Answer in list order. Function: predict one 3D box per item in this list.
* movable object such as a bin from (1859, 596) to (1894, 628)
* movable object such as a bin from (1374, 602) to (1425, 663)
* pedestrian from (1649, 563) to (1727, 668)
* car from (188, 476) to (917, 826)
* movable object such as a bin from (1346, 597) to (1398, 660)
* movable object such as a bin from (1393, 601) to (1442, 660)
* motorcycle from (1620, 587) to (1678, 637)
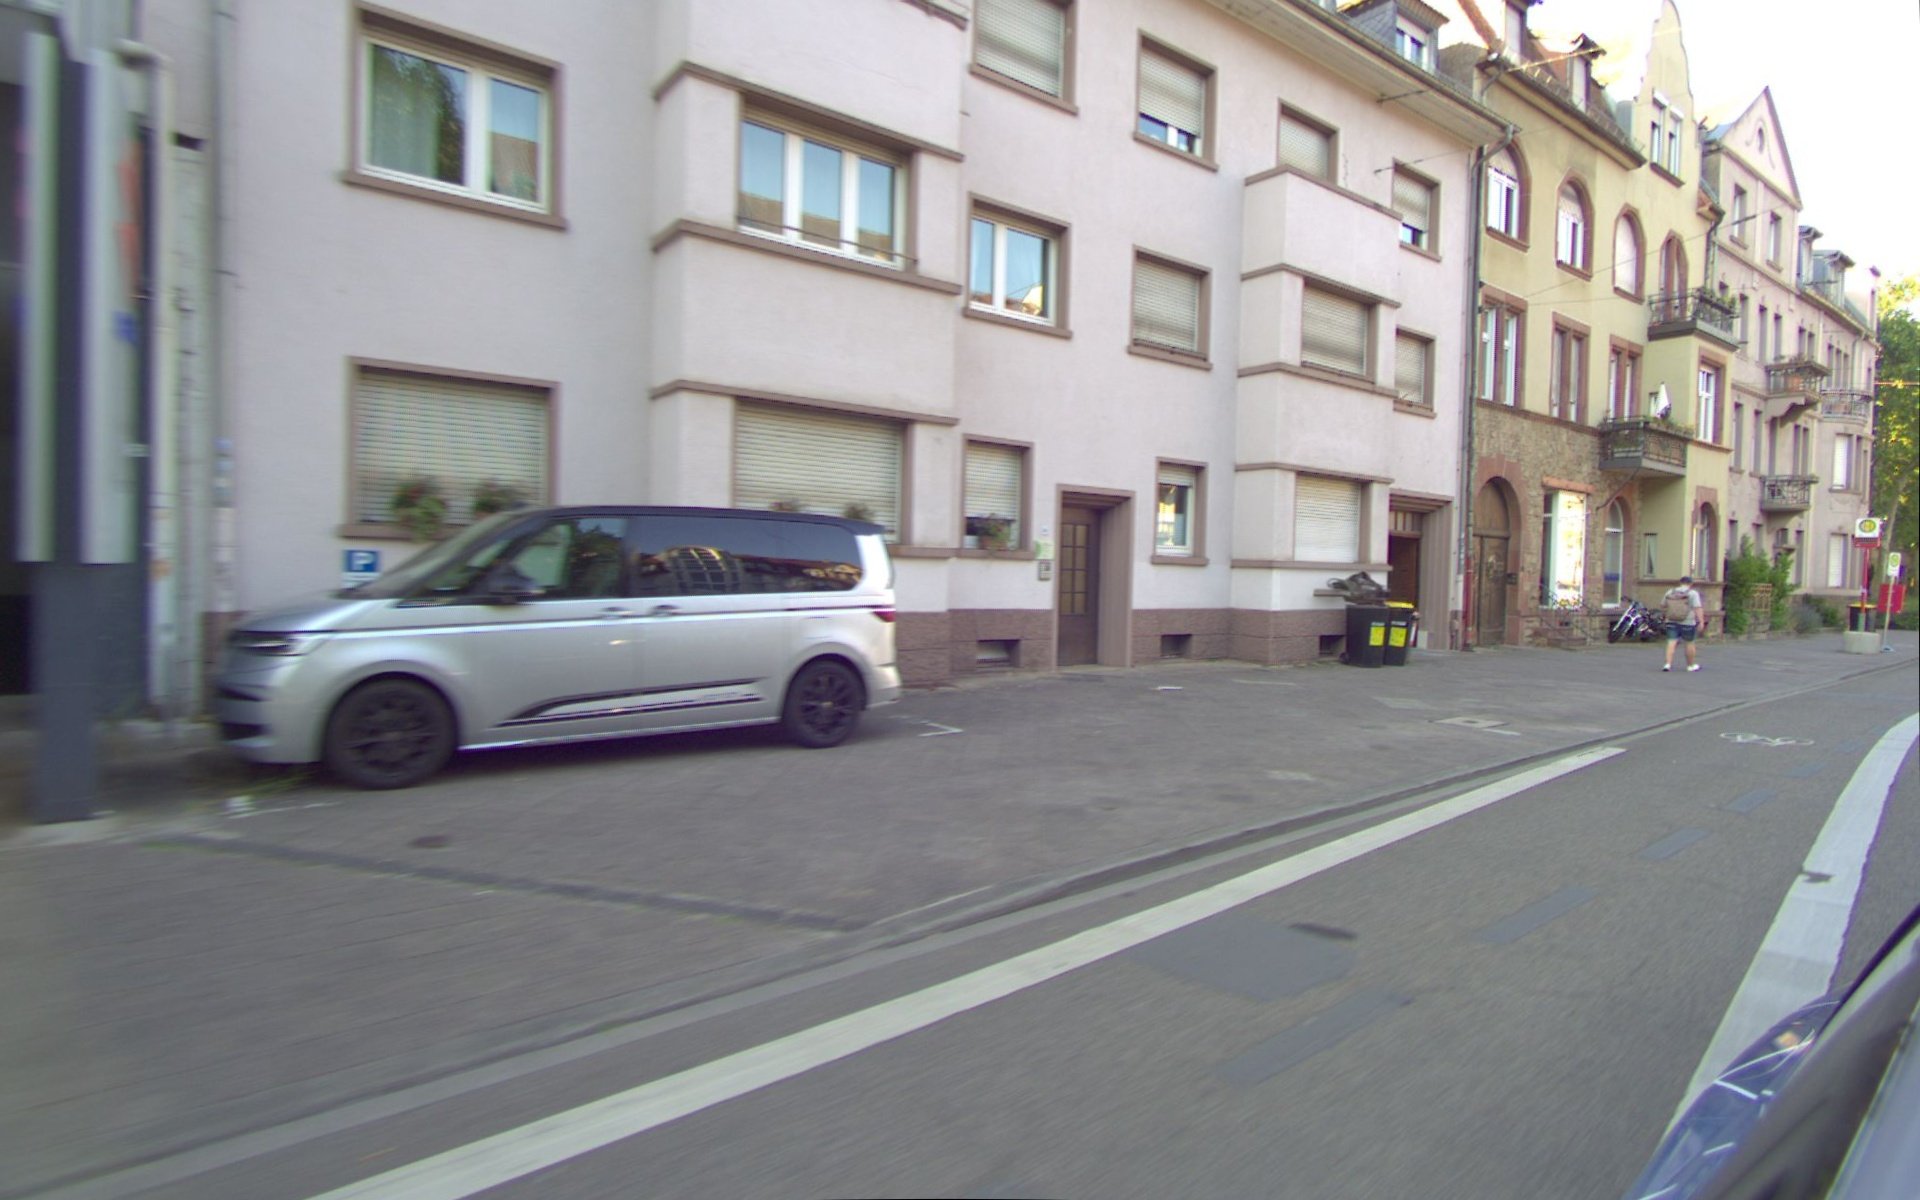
[{"bbox_3d":[31.694,0.405,35.006,0.645,1.059,0.659,0,2,-24],"label":"movable object such as a bin"},{"bbox_3d":[7.448,0.535,17.156,0.574,0.981,0.556,-1,2,-35],"label":"movable object such as a bin"},{"bbox_3d":[13.194,0.248,18.338,1.129,1.834,0.831,-1,3,-38],"label":"pedestrian"},{"bbox_3d":[-2.874,0.211,7.842,4.807,1.972,1.900,-1,3,-34],"label":"car"},{"bbox_3d":[6.806,0.464,16.713,0.574,0.981,0.556,-1,2,-35],"label":"movable object such as a bin"},{"bbox_3d":[7.989,0.527,17.687,0.574,0.981,0.556,-1,2,-35],"label":"movable object such as a bin"},{"bbox_3d":[17.486,0.275,25.675,2.462,1.151,0.591,-2,3,-41],"label":"motorcycle"}]
